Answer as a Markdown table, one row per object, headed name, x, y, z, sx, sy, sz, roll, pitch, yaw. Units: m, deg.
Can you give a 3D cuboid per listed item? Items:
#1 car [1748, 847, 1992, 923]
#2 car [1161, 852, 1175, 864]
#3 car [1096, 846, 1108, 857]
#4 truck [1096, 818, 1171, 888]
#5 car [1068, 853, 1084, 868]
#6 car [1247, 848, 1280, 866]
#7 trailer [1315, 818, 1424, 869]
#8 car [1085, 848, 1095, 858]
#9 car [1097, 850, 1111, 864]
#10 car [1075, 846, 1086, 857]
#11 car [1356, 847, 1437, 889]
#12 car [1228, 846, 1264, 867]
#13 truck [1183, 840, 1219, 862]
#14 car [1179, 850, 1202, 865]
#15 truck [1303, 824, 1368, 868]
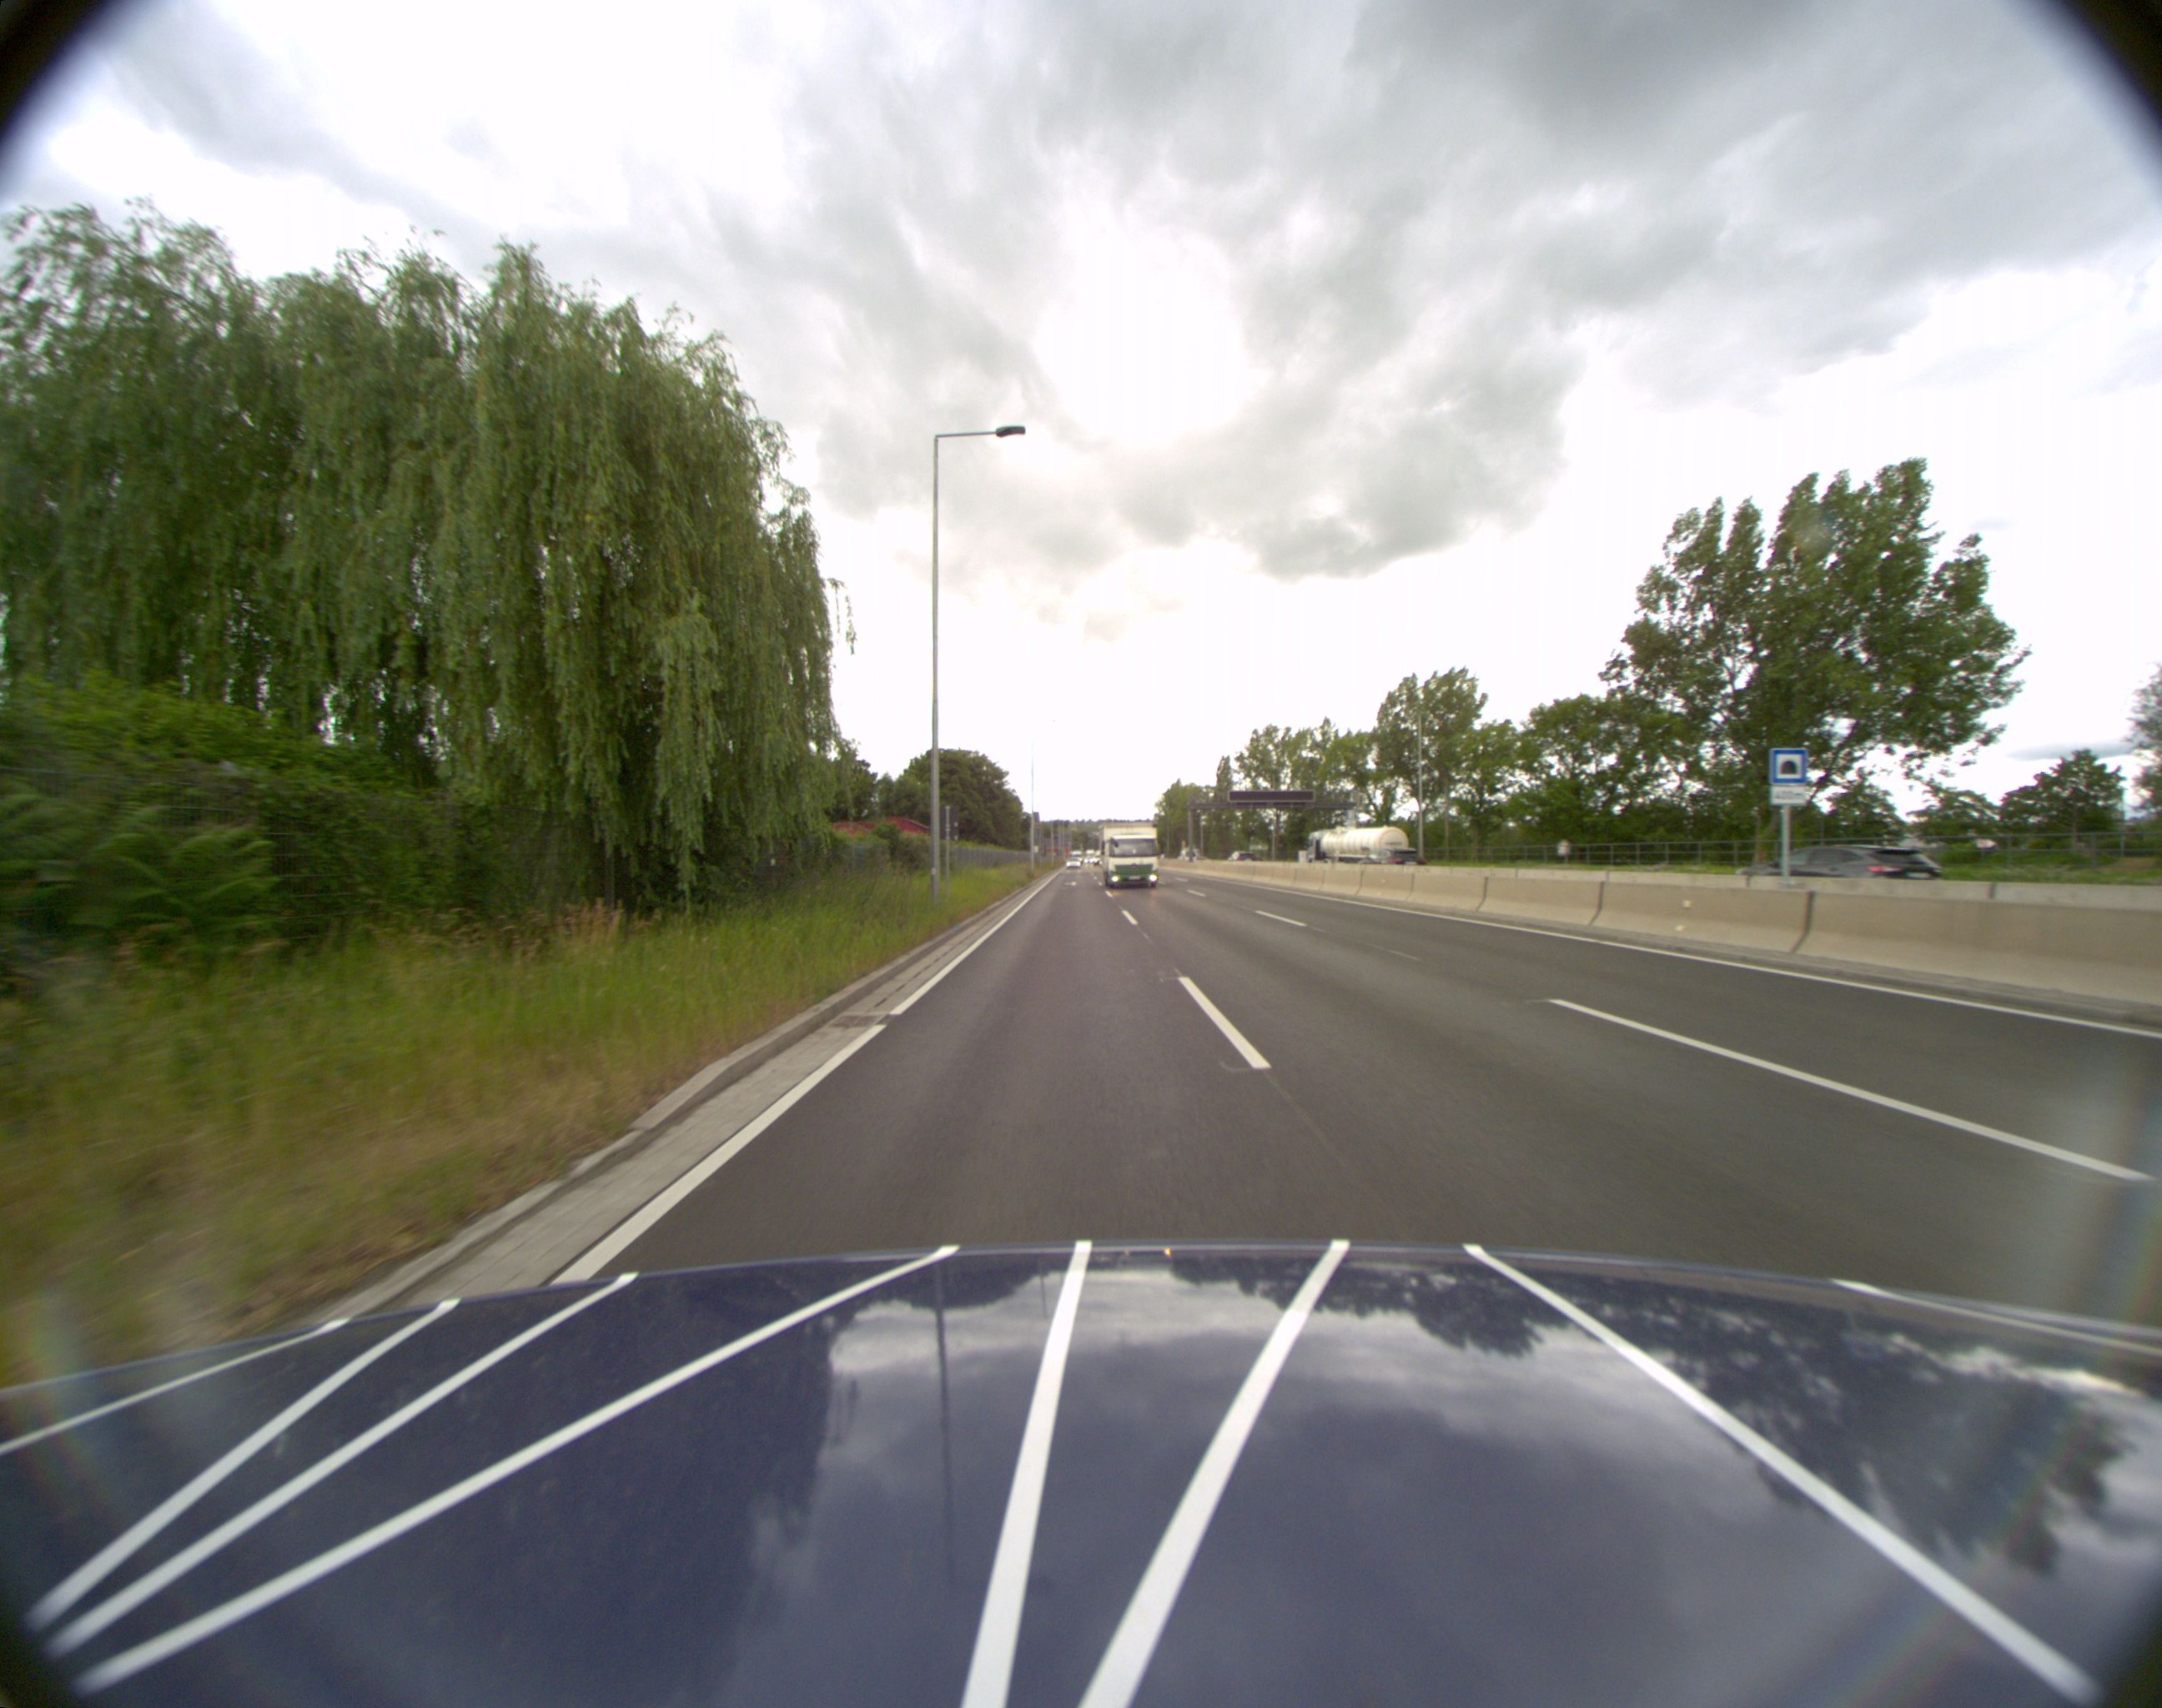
| name | x | y | z | sx | sy | sz | roll | pitch | yaw |
| --- | --- | --- | --- | --- | --- | --- | --- | --- | --- |
| car | 20.742 | 0.761 | 20.298 | 1.998 | 1.728 | 4.304 | -3 | 0 | 0 |
| car | 14.331 | 0.589 | 125.254 | 1.821 | 1.866 | 4.100 | -3 | 0 | 0 |
| car | 4.121 | -0.414 | 149.290 | 1.999 | 2.002 | 4.000 | -3 | 0 | 0 |
| truck | 2.467 | -0.004 | 38.669 | 2.943 | 3.064 | 8.386 | -2 | 0 | -1 |
| car | -0.632 | 0.838 | 99.678 | 1.999 | 1.849 | 4.000 | -3 | 0 | 0 |
| car | 17.435 | 0.315 | 72.966 | 1.998 | 1.608 | 4.697 | -3 | 0 | 0 |
| trailer | 20.426 | -0.641 | 54.878 | 3.108 | 3.201 | 11.667 | -3 | 0 | -1 |
| car | 2.075 | -0.208 | 173.114 | 1.998 | 2.002 | 4.000 | -3 | 0 | 0 |
| car | 3.555 | 0.484 | 119.098 | 1.999 | 2.002 | 4.000 | -3 | 0 | 0 |
| car | -0.180 | -0.470 | 147.274 | 1.999 | 2.002 | 4.000 | -3 | 0 | 0 |
| car | 14.365 | 0.602 | 34.851 | 1.998 | 1.728 | 4.000 | -3 | 0 | 0 |
| car | 13.843 | 0.216 | 64.095 | 1.998 | 1.608 | 4.697 | -3 | 0 | 0 |
| truck | 18.519 | -0.334 | 118.425 | 2.861 | 3.089 | 15.884 | -3 | 0 | -1 |
| car | 13.031 | 0.397 | 90.596 | 1.998 | 1.608 | 4.697 | -3 | 0 | 0 |
| truck | 20.289 | -0.614 | 60.795 | 3.106 | 3.200 | 5.390 | -3 | 0 | -2 |
